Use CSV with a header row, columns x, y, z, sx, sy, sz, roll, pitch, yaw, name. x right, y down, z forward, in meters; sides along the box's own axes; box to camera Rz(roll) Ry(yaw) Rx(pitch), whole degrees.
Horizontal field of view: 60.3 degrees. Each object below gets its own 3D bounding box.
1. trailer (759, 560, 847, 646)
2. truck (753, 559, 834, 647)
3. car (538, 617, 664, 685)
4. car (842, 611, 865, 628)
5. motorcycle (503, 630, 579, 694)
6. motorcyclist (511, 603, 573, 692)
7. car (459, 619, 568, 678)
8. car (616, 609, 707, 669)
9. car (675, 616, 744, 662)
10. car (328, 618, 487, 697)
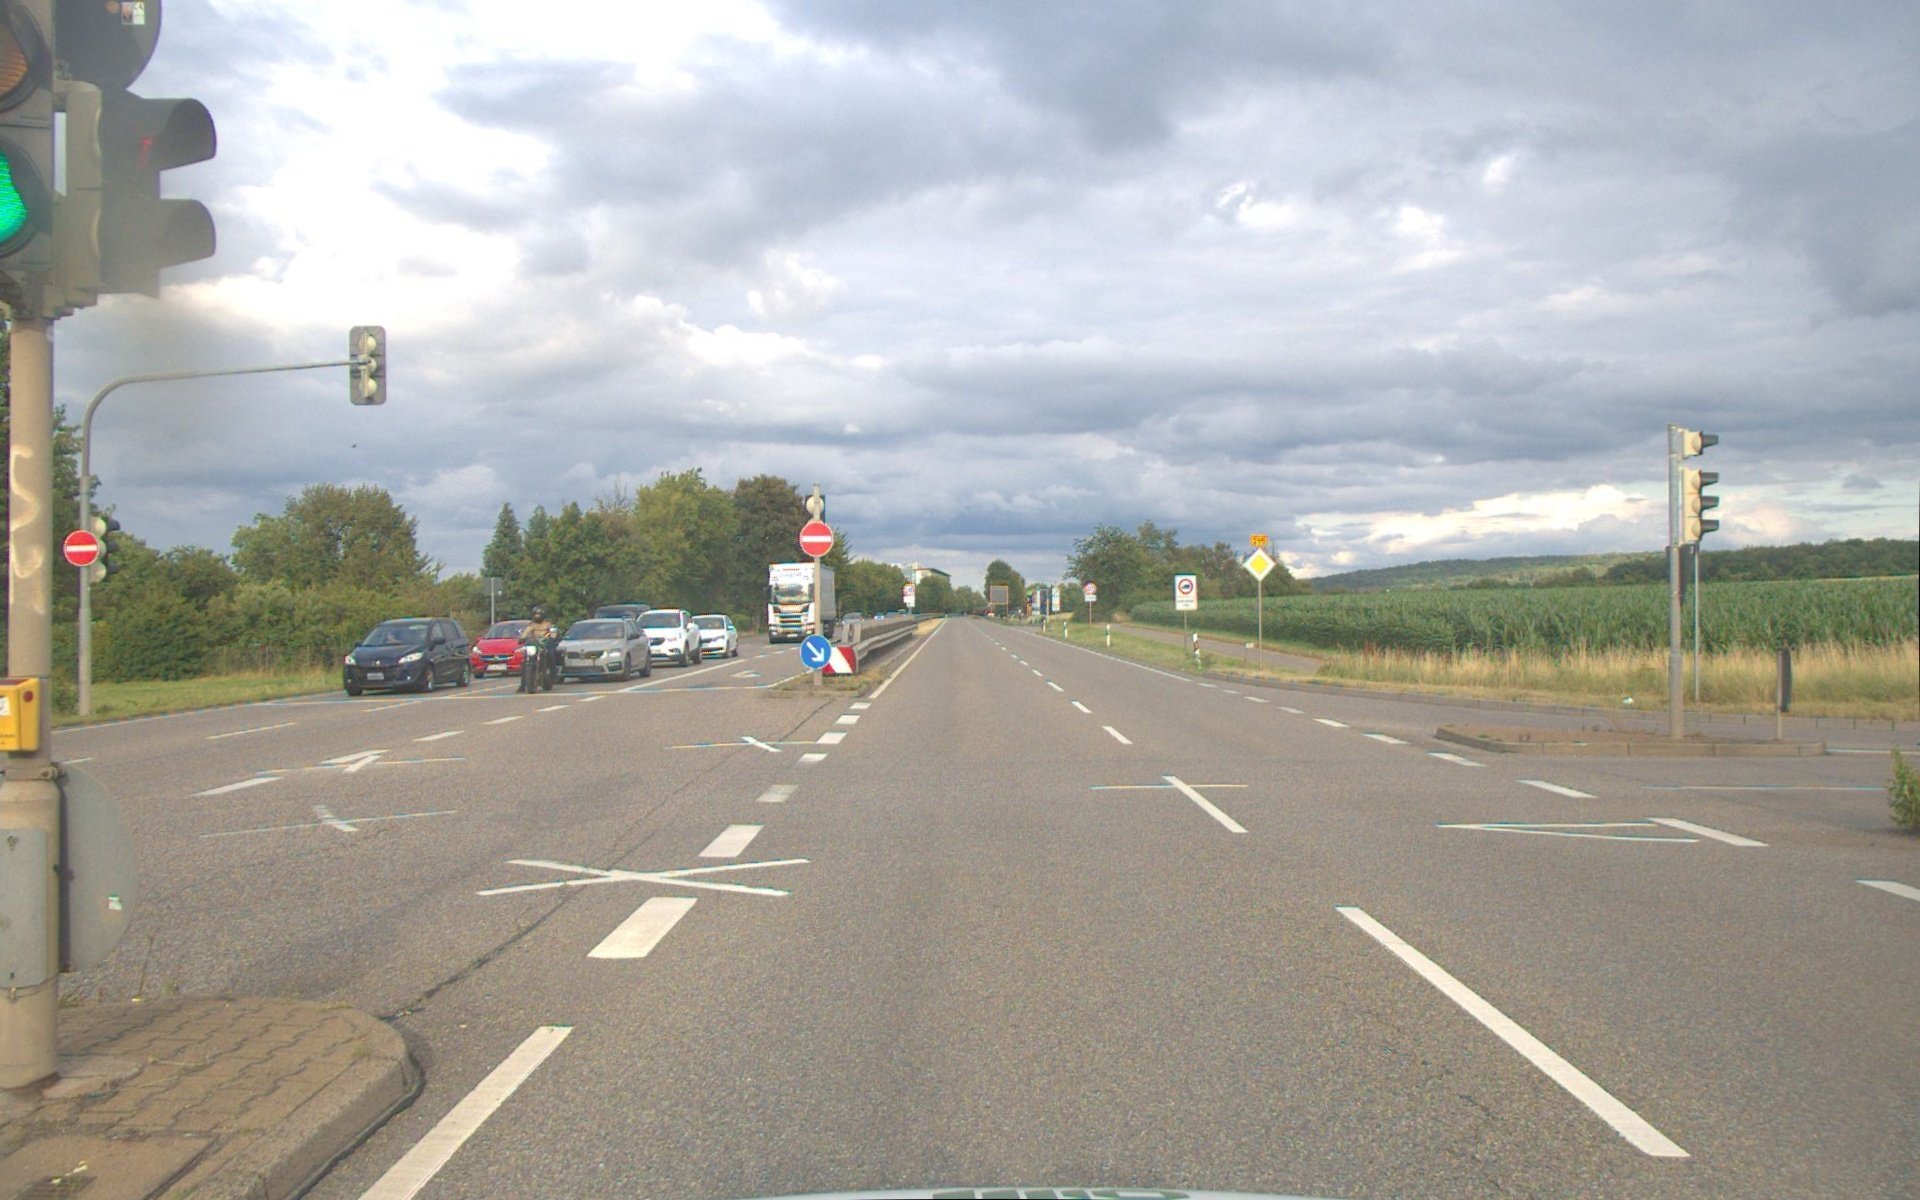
x,y,z,sx,sy,sz,roll,pitch,yaw,name
-8.432,0.222,90.928,3.394,4.223,13.914,-2,-1,0,trailer
-8.425,0.182,84.578,3.404,4.223,6.049,-2,-1,0,truck
-8.429,1.160,39.253,1.868,1.453,5.151,-1,0,0,car
-9.324,1.708,145.091,1.752,1.410,4.160,-1,0,0,car
-8.509,1.241,33.698,0.897,1.224,2.478,-2,-1,0,motorcycle
-8.507,0.956,33.701,0.897,1.739,1.276,-2,-1,0,motorcyclist
-12.136,1.280,45.214,1.868,1.490,4.183,-1,0,0,car
-8.650,1.100,48.222,1.868,1.638,4.404,-1,0,0,car
-8.540,1.296,56.631,1.752,1.470,4.160,-1,0,0,car
-12.054,1.203,36.452,1.868,1.562,4.938,-1,0,0,car
